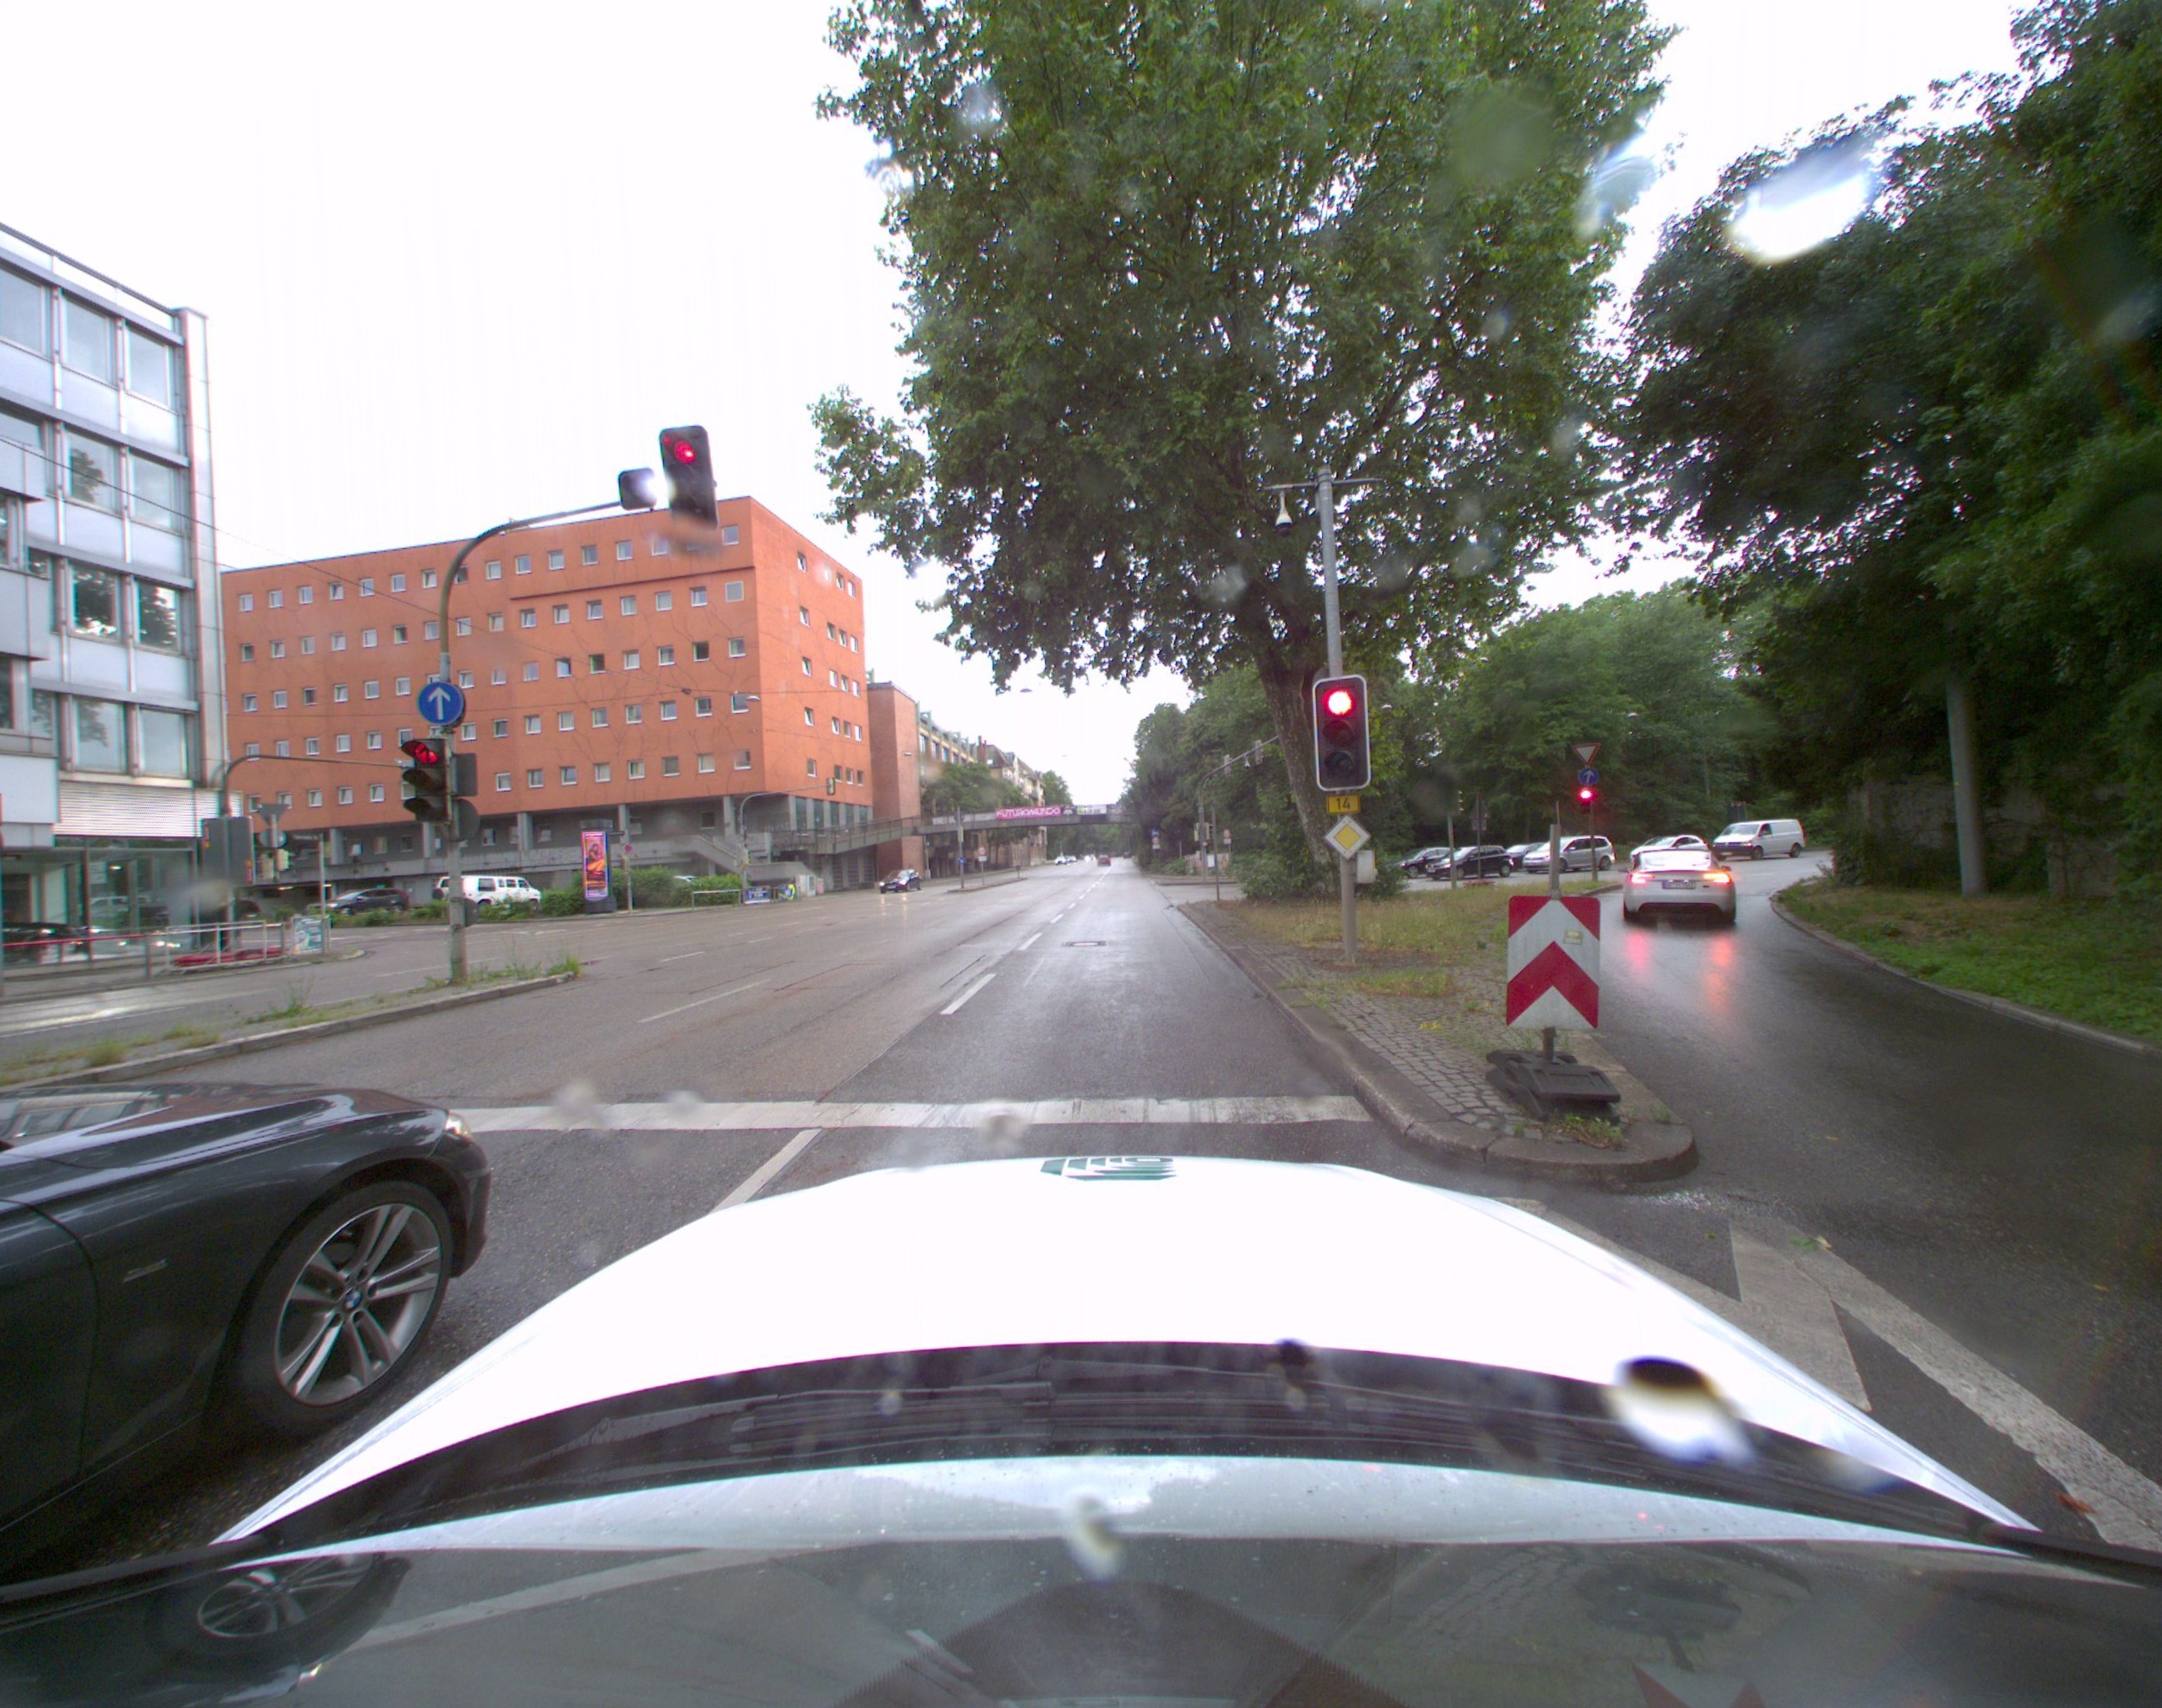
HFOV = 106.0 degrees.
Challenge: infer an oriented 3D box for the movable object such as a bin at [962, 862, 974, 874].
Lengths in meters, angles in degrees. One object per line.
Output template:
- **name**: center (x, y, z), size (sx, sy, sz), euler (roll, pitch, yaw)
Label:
- **movable object such as a bin**: center (-15.180, 1.920, 109.082), size (1.293, 1.518, 1.215), euler (-3, 0, 3)

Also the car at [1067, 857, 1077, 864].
- **car**: center (-1.911, 1.536, 180.343), size (1.701, 1.464, 4.047), euler (-3, -1, 5)

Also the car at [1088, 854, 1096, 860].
- **car**: center (2.821, 0.716, 203.234), size (1.676, 1.436, 3.865), euler (-3, -1, 3)

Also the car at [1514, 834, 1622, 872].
- **car**: center (22.611, -0.040, 37.828), size (4.203, 1.680, 1.898), euler (0, -1, -14)

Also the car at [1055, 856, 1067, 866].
- **car**: center (-3.757, 1.325, 154.297), size (1.881, 1.610, 4.461), euler (-3, -1, 4)

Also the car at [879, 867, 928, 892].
- **car**: center (-11.161, 1.606, 51.400), size (1.677, 1.419, 4.222), euler (-4, -1, 6)

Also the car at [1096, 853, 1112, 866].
- **car**: center (3.107, 0.793, 110.669), size (1.998, 1.643, 4.376), euler (-3, 0, 0)

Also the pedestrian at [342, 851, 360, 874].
- **pedestrian**: center (-57.676, 0.665, 64.340), size (0.757, 1.839, 0.727), euler (-1, -1, 11)

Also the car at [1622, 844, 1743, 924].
- **car**: center (12.873, 0.530, 17.542), size (1.834, 1.448, 4.648), euler (2, 2, 36)

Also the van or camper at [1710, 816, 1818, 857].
- **van or camper**: center (34.901, -0.873, 41.645), size (4.861, 1.947, 1.896), euler (-1, -1, -17)

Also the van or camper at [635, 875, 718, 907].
- **van or camper**: center (-24.190, 2.194, 48.786), size (3.965, 1.627, 1.918), euler (-3, 0, 8)

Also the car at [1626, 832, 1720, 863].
- **car**: center (28.845, -0.292, 39.721), size (3.857, 1.461, 1.650), euler (0, -1, -14)

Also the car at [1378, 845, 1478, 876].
- **car**: center (16.947, 0.318, 39.832), size (4.205, 1.440, 1.941), euler (0, -1, -14)

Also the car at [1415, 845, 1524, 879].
- **car**: center (17.163, 0.346, 36.031), size (4.192, 1.460, 1.784), euler (0, -1, -14)

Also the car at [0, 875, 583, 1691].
- **car**: center (-2.920, 0.840, 0.890), size (1.769, 1.458, 4.480), euler (-3, -1, 3)

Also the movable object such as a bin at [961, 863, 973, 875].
- **movable object such as a bin**: center (-15.116, 1.933, 107.674), size (1.277, 1.518, 1.274), euler (-3, 0, 3)

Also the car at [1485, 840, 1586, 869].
- **car**: center (23.002, 0.041, 41.237), size (4.438, 1.402, 1.821), euler (0, -1, -14)

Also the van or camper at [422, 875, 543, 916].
- **van or camper**: center (-32.834, 2.222, 44.928), size (2.113, 1.977, 5.466), euler (0, -1, 9)

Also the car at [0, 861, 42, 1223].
- **car**: center (-5.997, 0.850, 1.692), size (1.801, 1.656, 4.449), euler (0, -1, 4)

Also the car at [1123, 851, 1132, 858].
- **car**: center (10.254, 0.107, 179.218), size (1.835, 1.453, 3.778), euler (0, -1, 2)

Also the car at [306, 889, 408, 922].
- **car**: center (-40.246, 2.818, 45.408), size (1.699, 1.612, 4.097), euler (0, -1, 9)
